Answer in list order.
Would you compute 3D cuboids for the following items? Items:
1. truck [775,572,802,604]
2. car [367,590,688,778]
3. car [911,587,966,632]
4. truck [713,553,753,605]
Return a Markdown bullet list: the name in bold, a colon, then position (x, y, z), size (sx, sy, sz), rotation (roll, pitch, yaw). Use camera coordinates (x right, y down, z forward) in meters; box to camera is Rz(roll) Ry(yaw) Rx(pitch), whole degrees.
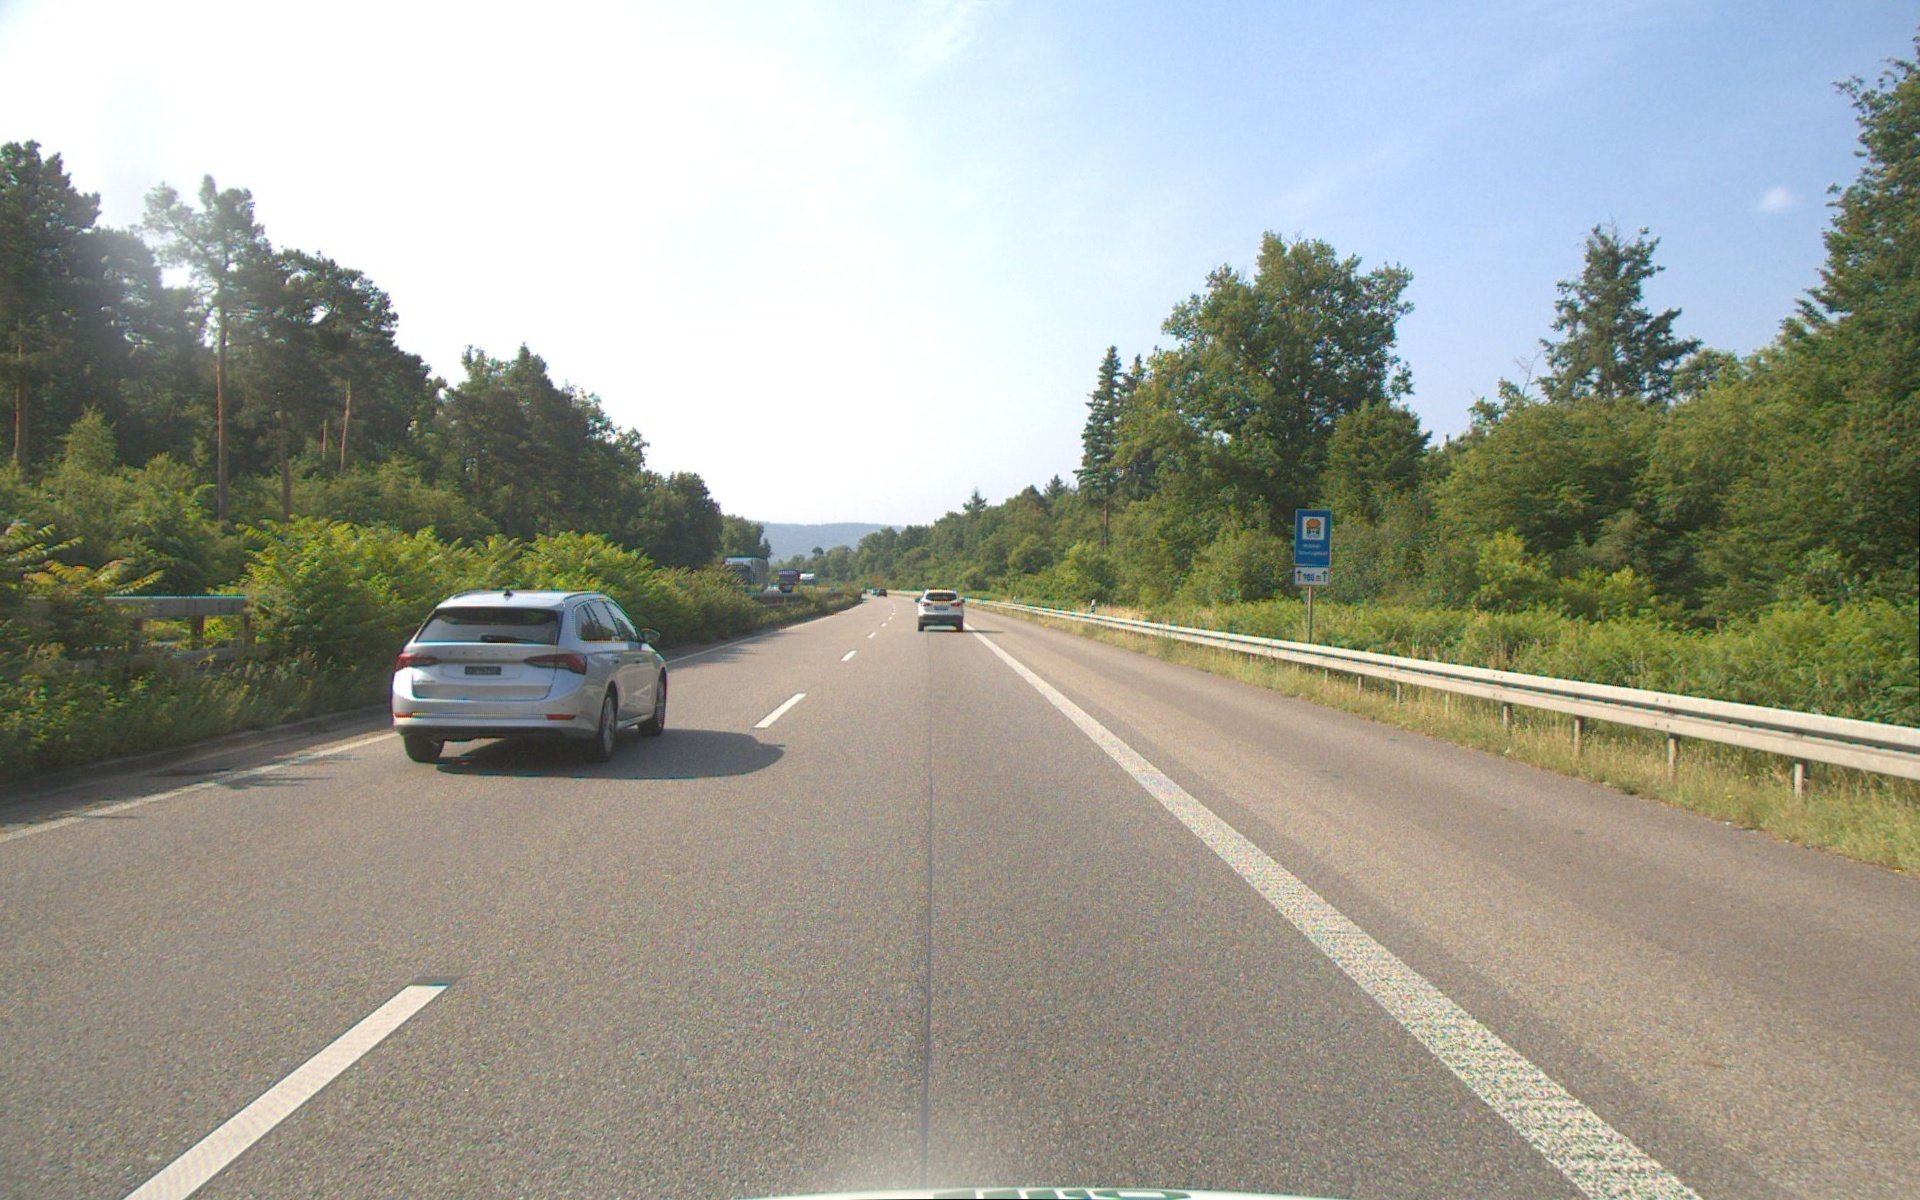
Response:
- **truck**: position (-22.487, -1.610, 217.452), size (3.201, 4.109, 6.230), rotation (1, 0, -3)
- **car**: position (-3.863, 0.651, 15.768), size (1.756, 1.463, 5.277), rotation (0, 1, -1)
- **car**: position (-0.887, 0.357, 65.151), size (1.837, 1.614, 3.997), rotation (2, 1, -5)
- **truck**: position (-19.170, -1.789, 140.038), size (2.654, 4.274, 6.291), rotation (0, 0, -2)
